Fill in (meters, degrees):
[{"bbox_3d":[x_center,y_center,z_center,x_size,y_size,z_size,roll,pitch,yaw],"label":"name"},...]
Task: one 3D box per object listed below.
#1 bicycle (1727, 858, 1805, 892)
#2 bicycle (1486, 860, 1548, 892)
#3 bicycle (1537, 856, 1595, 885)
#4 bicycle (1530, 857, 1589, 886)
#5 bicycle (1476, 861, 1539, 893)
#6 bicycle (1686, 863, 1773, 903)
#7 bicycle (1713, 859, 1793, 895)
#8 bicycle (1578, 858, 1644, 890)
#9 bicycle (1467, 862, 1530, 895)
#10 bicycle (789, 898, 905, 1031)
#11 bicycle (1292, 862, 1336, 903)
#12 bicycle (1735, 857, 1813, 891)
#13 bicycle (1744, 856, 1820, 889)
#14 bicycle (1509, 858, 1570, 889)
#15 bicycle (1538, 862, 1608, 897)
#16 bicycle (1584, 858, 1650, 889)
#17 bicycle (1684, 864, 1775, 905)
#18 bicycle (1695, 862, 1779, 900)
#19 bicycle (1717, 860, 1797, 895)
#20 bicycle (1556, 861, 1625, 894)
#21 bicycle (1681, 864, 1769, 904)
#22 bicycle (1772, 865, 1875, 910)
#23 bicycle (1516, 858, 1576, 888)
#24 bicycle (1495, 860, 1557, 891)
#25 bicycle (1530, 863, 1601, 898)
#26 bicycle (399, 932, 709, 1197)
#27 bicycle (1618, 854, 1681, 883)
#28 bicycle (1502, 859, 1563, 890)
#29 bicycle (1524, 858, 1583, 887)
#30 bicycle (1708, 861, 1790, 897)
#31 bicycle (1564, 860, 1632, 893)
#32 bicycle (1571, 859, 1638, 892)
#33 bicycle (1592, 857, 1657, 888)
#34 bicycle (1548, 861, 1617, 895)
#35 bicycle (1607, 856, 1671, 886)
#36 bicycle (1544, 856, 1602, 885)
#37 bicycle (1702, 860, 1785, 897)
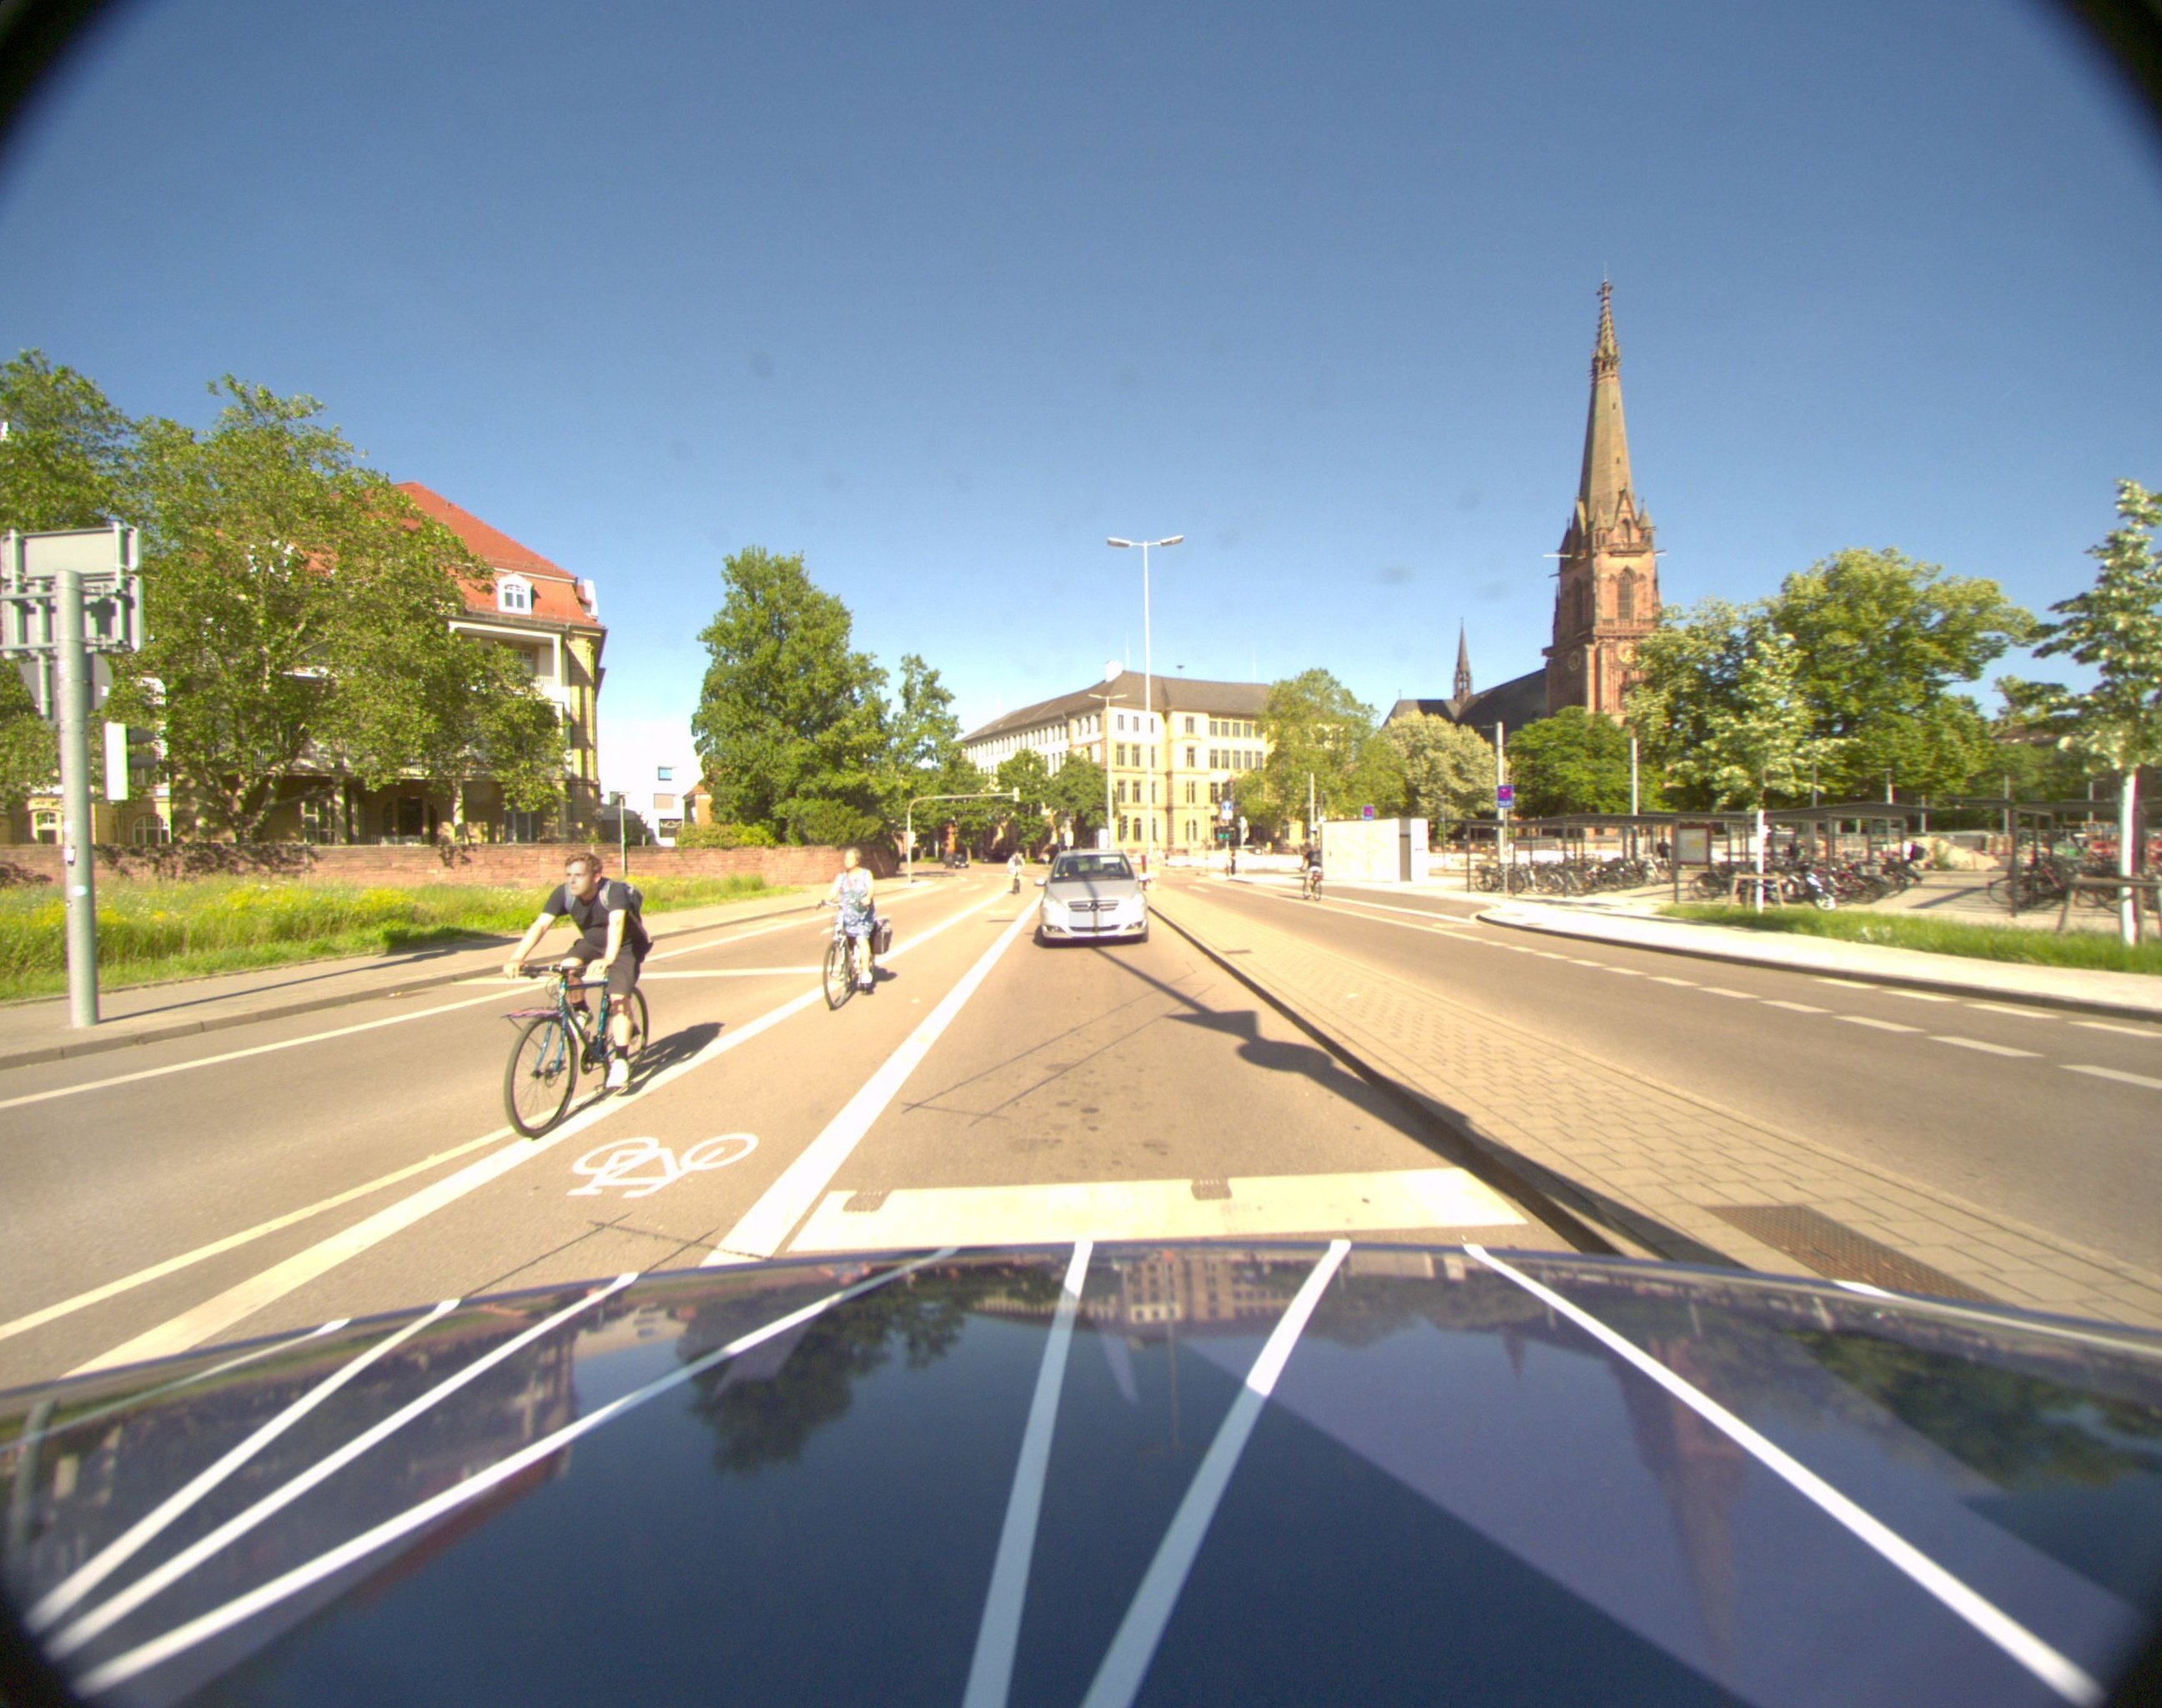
[{"bbox_3d":[22.089,0.651,24.540,0.569,1.032,1.783,-1,1,-38],"label":"bicycle"},{"bbox_3d":[15.152,0.757,26.439,0.569,1.032,1.783,-1,1,-38],"label":"bicycle"},{"bbox_3d":[18.619,0.618,29.195,0.569,1.032,1.783,-1,1,-38],"label":"bicycle"},{"bbox_3d":[18.140,0.664,28.827,0.569,1.032,1.783,-1,1,-38],"label":"bicycle"},{"bbox_3d":[14.555,0.774,25.973,0.569,1.032,1.783,-1,1,-38],"label":"bicycle"},{"bbox_3d":[18.443,0.801,21.648,0.569,1.032,1.783,-1,1,-38],"label":"bicycle"},{"bbox_3d":[20.901,0.698,23.669,0.569,1.032,1.783,-1,1,-38],"label":"bicycle"},{"bbox_3d":[18.244,0.668,26.191,0.569,1.032,1.783,-1,1,-38],"label":"bicycle"},{"bbox_3d":[14.036,0.818,25.576,0.569,1.032,1.783,-1,1,-38],"label":"bicycle"},{"bbox_3d":[-2.536,1.147,8.482,0.642,1.158,1.967,-2,1,0],"label":"bicycle"},{"bbox_3d":[7.179,0.860,23.498,0.748,1.158,1.870,0,1,0],"label":"bicycle"},{"bbox_3d":[22.712,0.629,24.930,0.569,1.032,1.783,-1,1,-38],"label":"bicycle"},{"bbox_3d":[23.359,0.587,25.353,0.569,1.032,1.783,-1,1,-38],"label":"bicycle"},{"bbox_3d":[16.666,0.696,27.655,0.569,1.032,1.783,-1,1,-38],"label":"bicycle"},{"bbox_3d":[15.760,0.803,24.366,0.569,1.032,1.783,-1,1,-38],"label":"bicycle"},{"bbox_3d":[18.748,0.656,26.587,0.569,1.032,1.783,-1,1,-38],"label":"bicycle"},{"bbox_3d":[17.668,0.817,20.735,0.569,1.032,1.783,-1,1,-38],"label":"bicycle"},{"bbox_3d":[19.401,0.780,22.513,0.569,1.032,1.783,-1,1,-38],"label":"bicycle"},{"bbox_3d":[21.365,0.720,24.044,0.569,1.032,1.783,-1,1,-38],"label":"bicycle"},{"bbox_3d":[16.798,0.754,25.082,0.569,1.032,1.783,-1,1,-38],"label":"bicycle"},{"bbox_3d":[17.998,0.820,21.265,0.569,1.032,1.783,-1,1,-38],"label":"bicycle"},{"bbox_3d":[18.808,0.824,19.278,0.569,1.032,1.783,-1,1,-38],"label":"bicycle"},{"bbox_3d":[17.152,0.678,28.036,0.569,1.032,1.783,-1,1,-38],"label":"bicycle"},{"bbox_3d":[15.700,0.734,26.859,0.569,1.032,1.783,-1,1,-38],"label":"bicycle"},{"bbox_3d":[15.247,0.810,23.964,0.569,1.032,1.783,-1,1,-38],"label":"bicycle"},{"bbox_3d":[-3.191,1.191,4.881,0.642,1.158,1.870,-2,0,0],"label":"bicycle"},{"bbox_3d":[21.300,0.532,28.514,0.569,1.032,1.783,-1,1,-38],"label":"bicycle"},{"bbox_3d":[16.192,0.724,27.258,0.569,1.032,1.783,-1,1,-38],"label":"bicycle"},{"bbox_3d":[17.672,0.686,28.456,0.569,1.032,1.783,-1,1,-38],"label":"bicycle"},{"bbox_3d":[20.441,0.749,23.284,0.569,1.032,1.783,-1,1,-38],"label":"bicycle"},{"bbox_3d":[17.286,0.732,25.436,0.569,1.032,1.783,-1,1,-38],"label":"bicycle"},{"bbox_3d":[17.766,0.721,25.824,0.569,1.032,1.783,-1,1,-38],"label":"bicycle"},{"bbox_3d":[19.245,0.634,26.931,0.569,1.032,1.783,-1,1,-38],"label":"bicycle"},{"bbox_3d":[16.292,0.764,24.733,0.569,1.032,1.783,-1,1,-38],"label":"bicycle"},{"bbox_3d":[20.333,0.605,27.706,0.569,1.032,1.783,-1,1,-38],"label":"bicycle"},{"bbox_3d":[19.099,0.624,29.547,0.569,1.032,1.783,-1,1,-38],"label":"bicycle"},{"bbox_3d":[19.948,0.718,22.912,0.569,1.032,1.783,-1,1,-38],"label":"bicycle"}]
